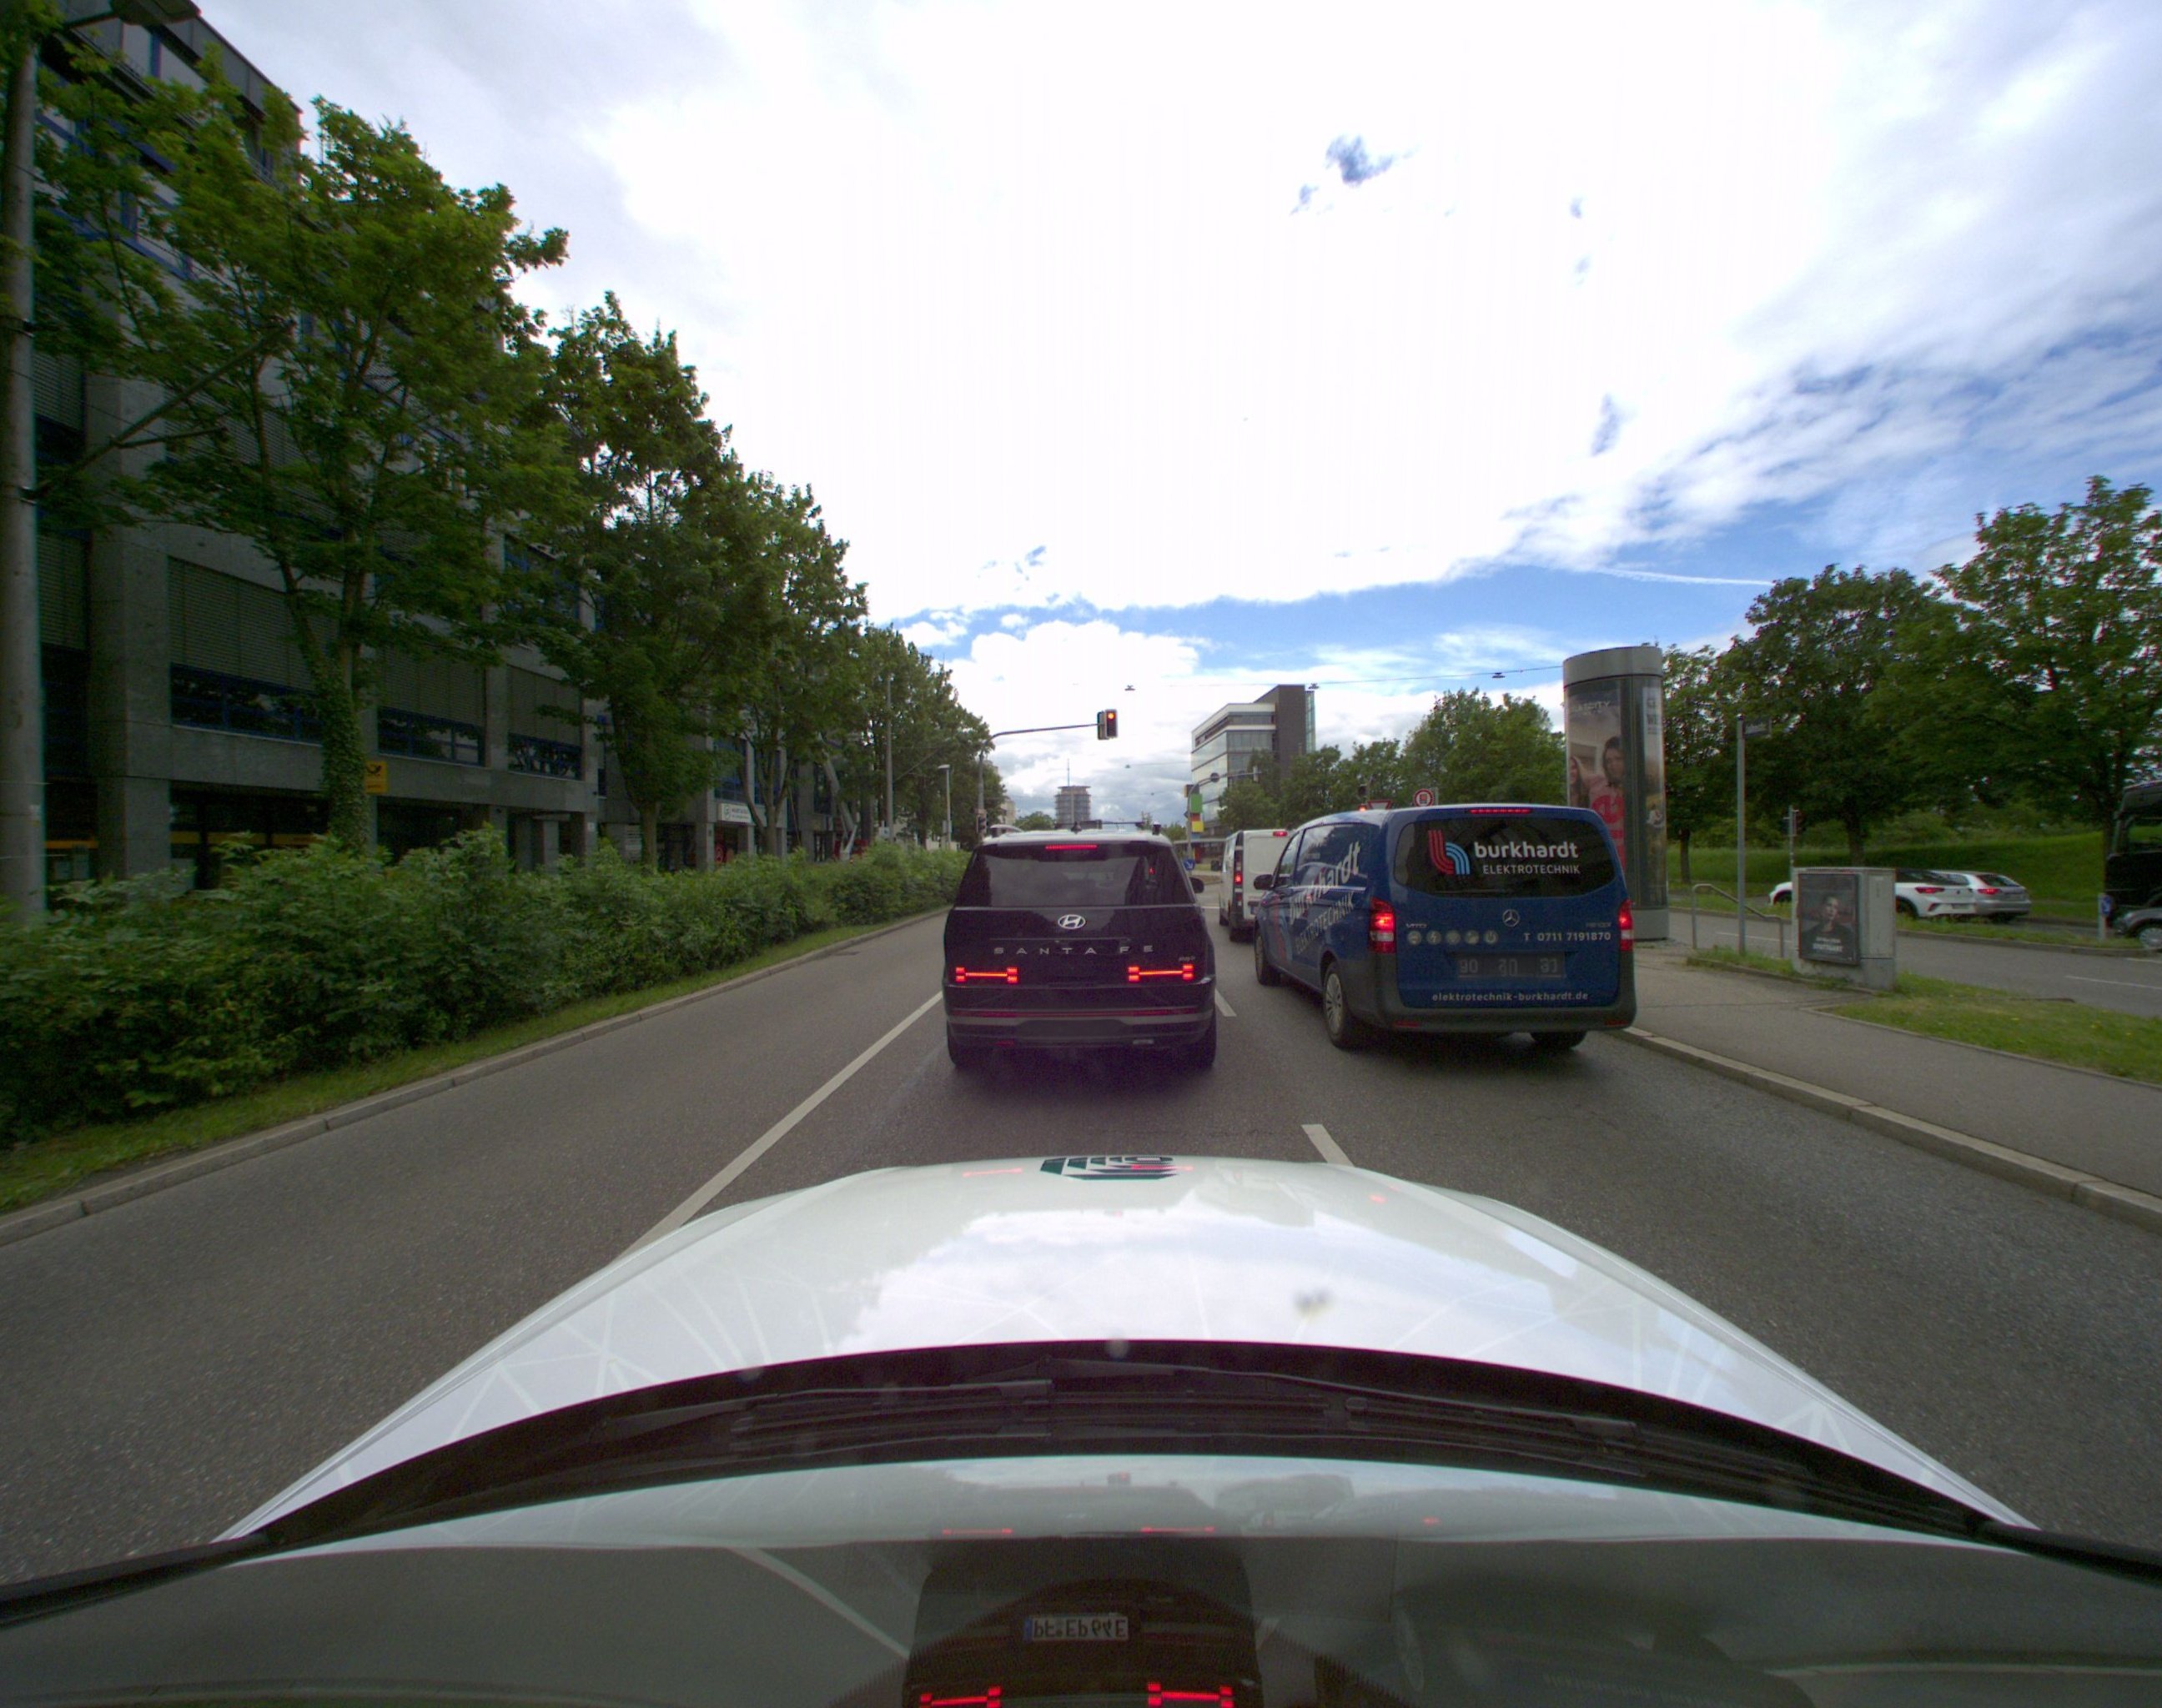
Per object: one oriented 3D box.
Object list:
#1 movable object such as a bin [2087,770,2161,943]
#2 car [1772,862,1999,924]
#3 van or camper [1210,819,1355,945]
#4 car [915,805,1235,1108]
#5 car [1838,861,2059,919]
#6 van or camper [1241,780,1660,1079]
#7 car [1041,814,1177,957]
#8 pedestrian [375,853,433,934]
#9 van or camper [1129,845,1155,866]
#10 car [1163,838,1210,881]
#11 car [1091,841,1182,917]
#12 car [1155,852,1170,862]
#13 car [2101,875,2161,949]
[{"bbox_3d":[26.264,0.001,15.513,2.860,3.903,8.536,-1,-1,-11],"label":"movable object such as a bin"},{"bbox_3d":[21.771,1.009,22.283,1.994,1.453,3.985,1,0,-11],"label":"car"},{"bbox_3d":[3.626,0.460,15.509,1.984,2.013,4.659,-1,0,5],"label":"van or camper"},{"bbox_3d":[0.026,0.611,6.786,1.862,1.760,3.881,-1,0,2],"label":"car"},{"bbox_3d":[25.104,0.988,23.781,1.994,1.453,3.985,1,0,-11],"label":"car"},{"bbox_3d":[2.897,0.496,7.831,1.853,1.911,5.034,-1,0,2],"label":"van or camper"},{"bbox_3d":[0.460,0.453,13.593,1.908,2.003,3.881,-1,0,2],"label":"car"},{"bbox_3d":[-16.301,0.943,19.615,0.771,1.894,0.731,-1,-1,1],"label":"pedestrian"},{"bbox_3d":[7.572,0.198,100.596,1.979,2.547,6.603,-1,-1,14],"label":"van or camper"},{"bbox_3d":[5.146,0.267,40.352,1.985,2.014,4.003,-1,-1,3],"label":"car"},{"bbox_3d":[1.527,0.596,20.701,1.764,1.717,4.351,-1,-1,11],"label":"car"},{"bbox_3d":[13.181,0.513,131.721,1.987,1.684,3.998,-1,-1,-1],"label":"car"},{"bbox_3d":[23.009,1.211,15.532,1.994,1.453,3.985,1,0,-11],"label":"car"}]
